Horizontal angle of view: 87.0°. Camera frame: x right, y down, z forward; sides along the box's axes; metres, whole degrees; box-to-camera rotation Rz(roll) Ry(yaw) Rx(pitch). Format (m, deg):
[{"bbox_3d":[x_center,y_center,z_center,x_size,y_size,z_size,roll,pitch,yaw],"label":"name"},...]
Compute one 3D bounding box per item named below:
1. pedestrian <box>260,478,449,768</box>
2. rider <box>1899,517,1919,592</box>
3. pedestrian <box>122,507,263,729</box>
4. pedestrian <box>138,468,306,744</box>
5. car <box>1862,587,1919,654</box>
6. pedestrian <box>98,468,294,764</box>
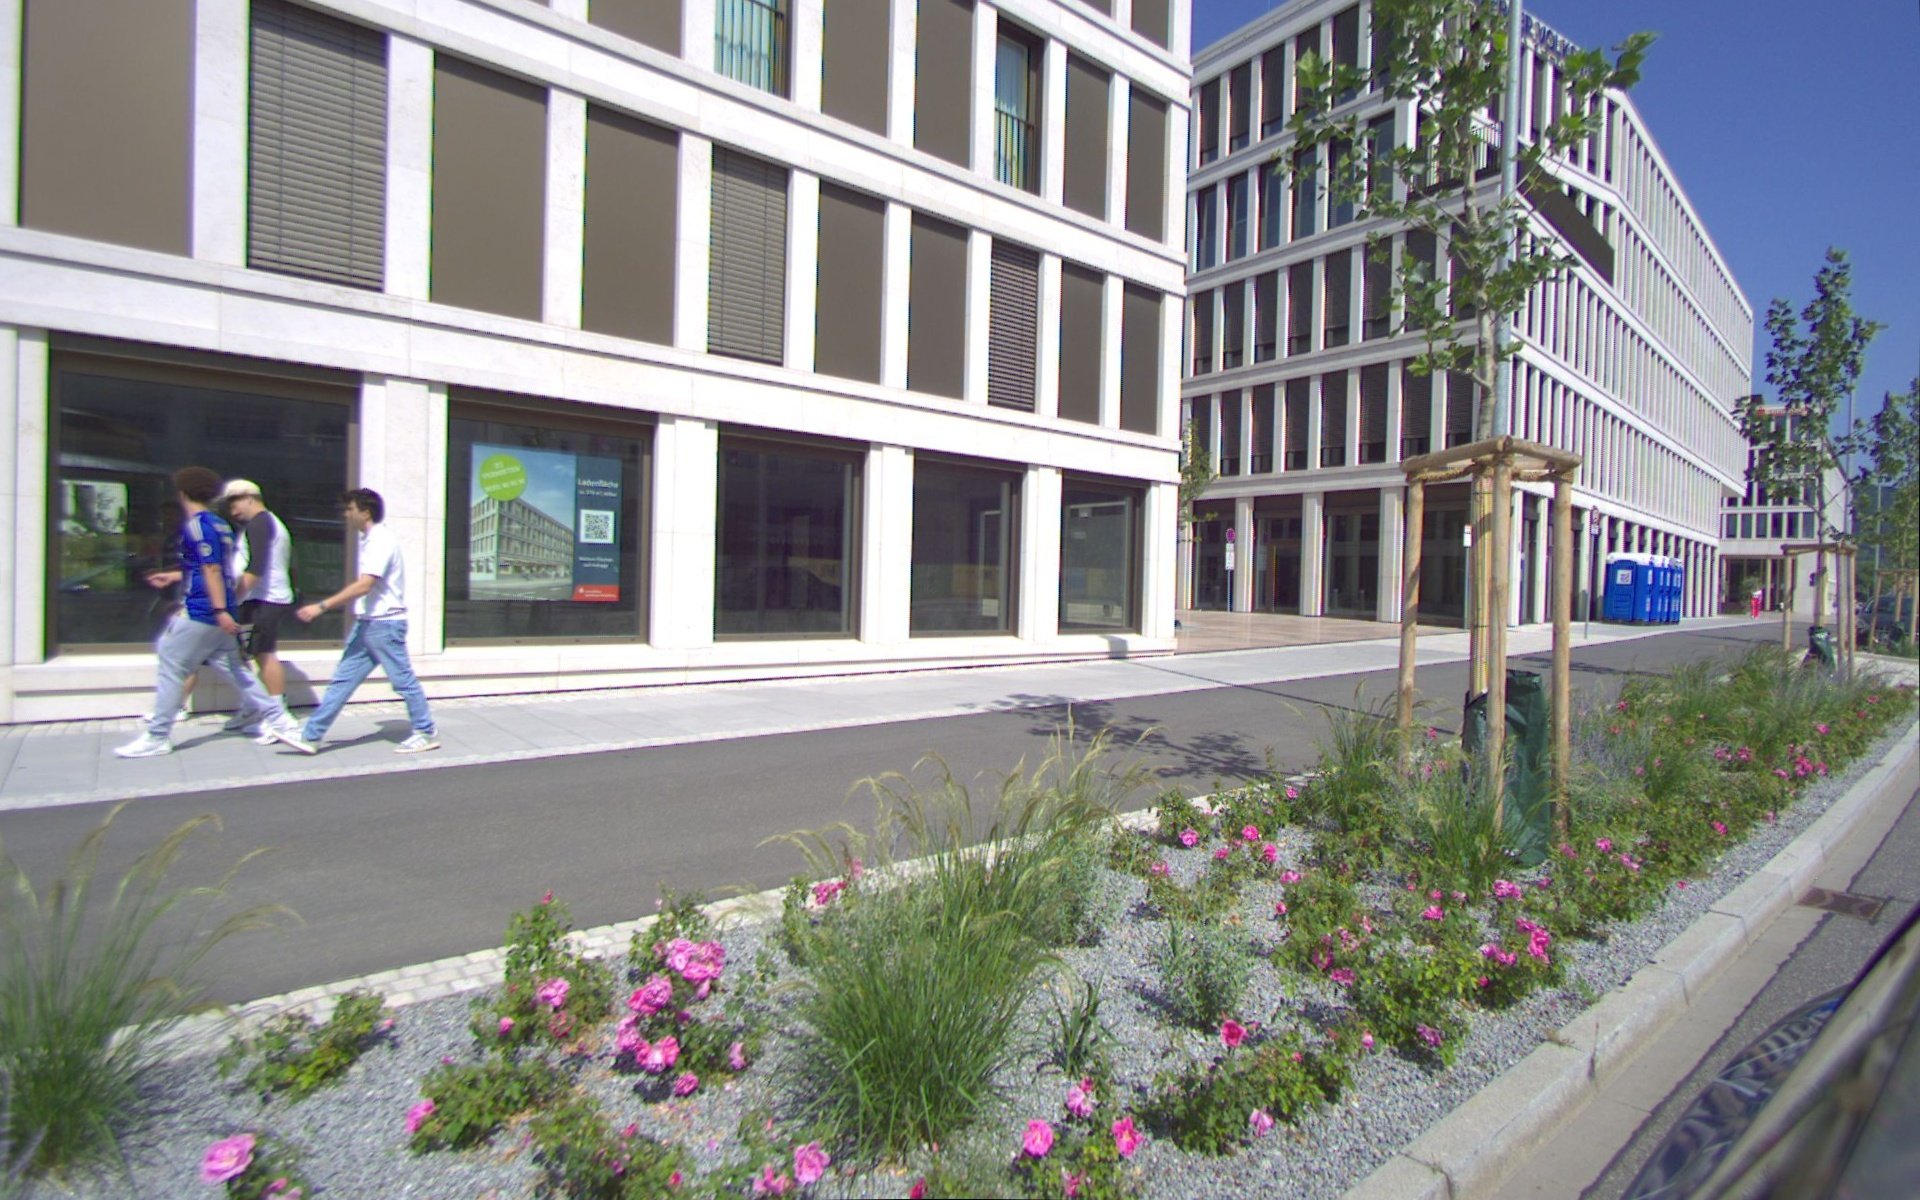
[{"bbox_3d":[-3.951,0.125,6.619,0.979,1.741,0.578,0,2,-41],"label":"pedestrian"},{"bbox_3d":[32.518,-1.514,34.204,1.694,2.453,0.871,-1,6,-44],"label":"rider"},{"bbox_3d":[-5.911,0.110,7.797,0.828,1.585,0.770,0,2,-41],"label":"pedestrian"},{"bbox_3d":[-5.273,0.022,7.225,0.910,1.805,0.826,0,2,-41],"label":"pedestrian"},{"bbox_3d":[23.827,0.481,24.999,3.930,1.527,1.809,0,2,-41],"label":"car"},{"bbox_3d":[-4.947,0.082,6.572,0.979,1.761,0.578,0,2,-41],"label":"pedestrian"}]
